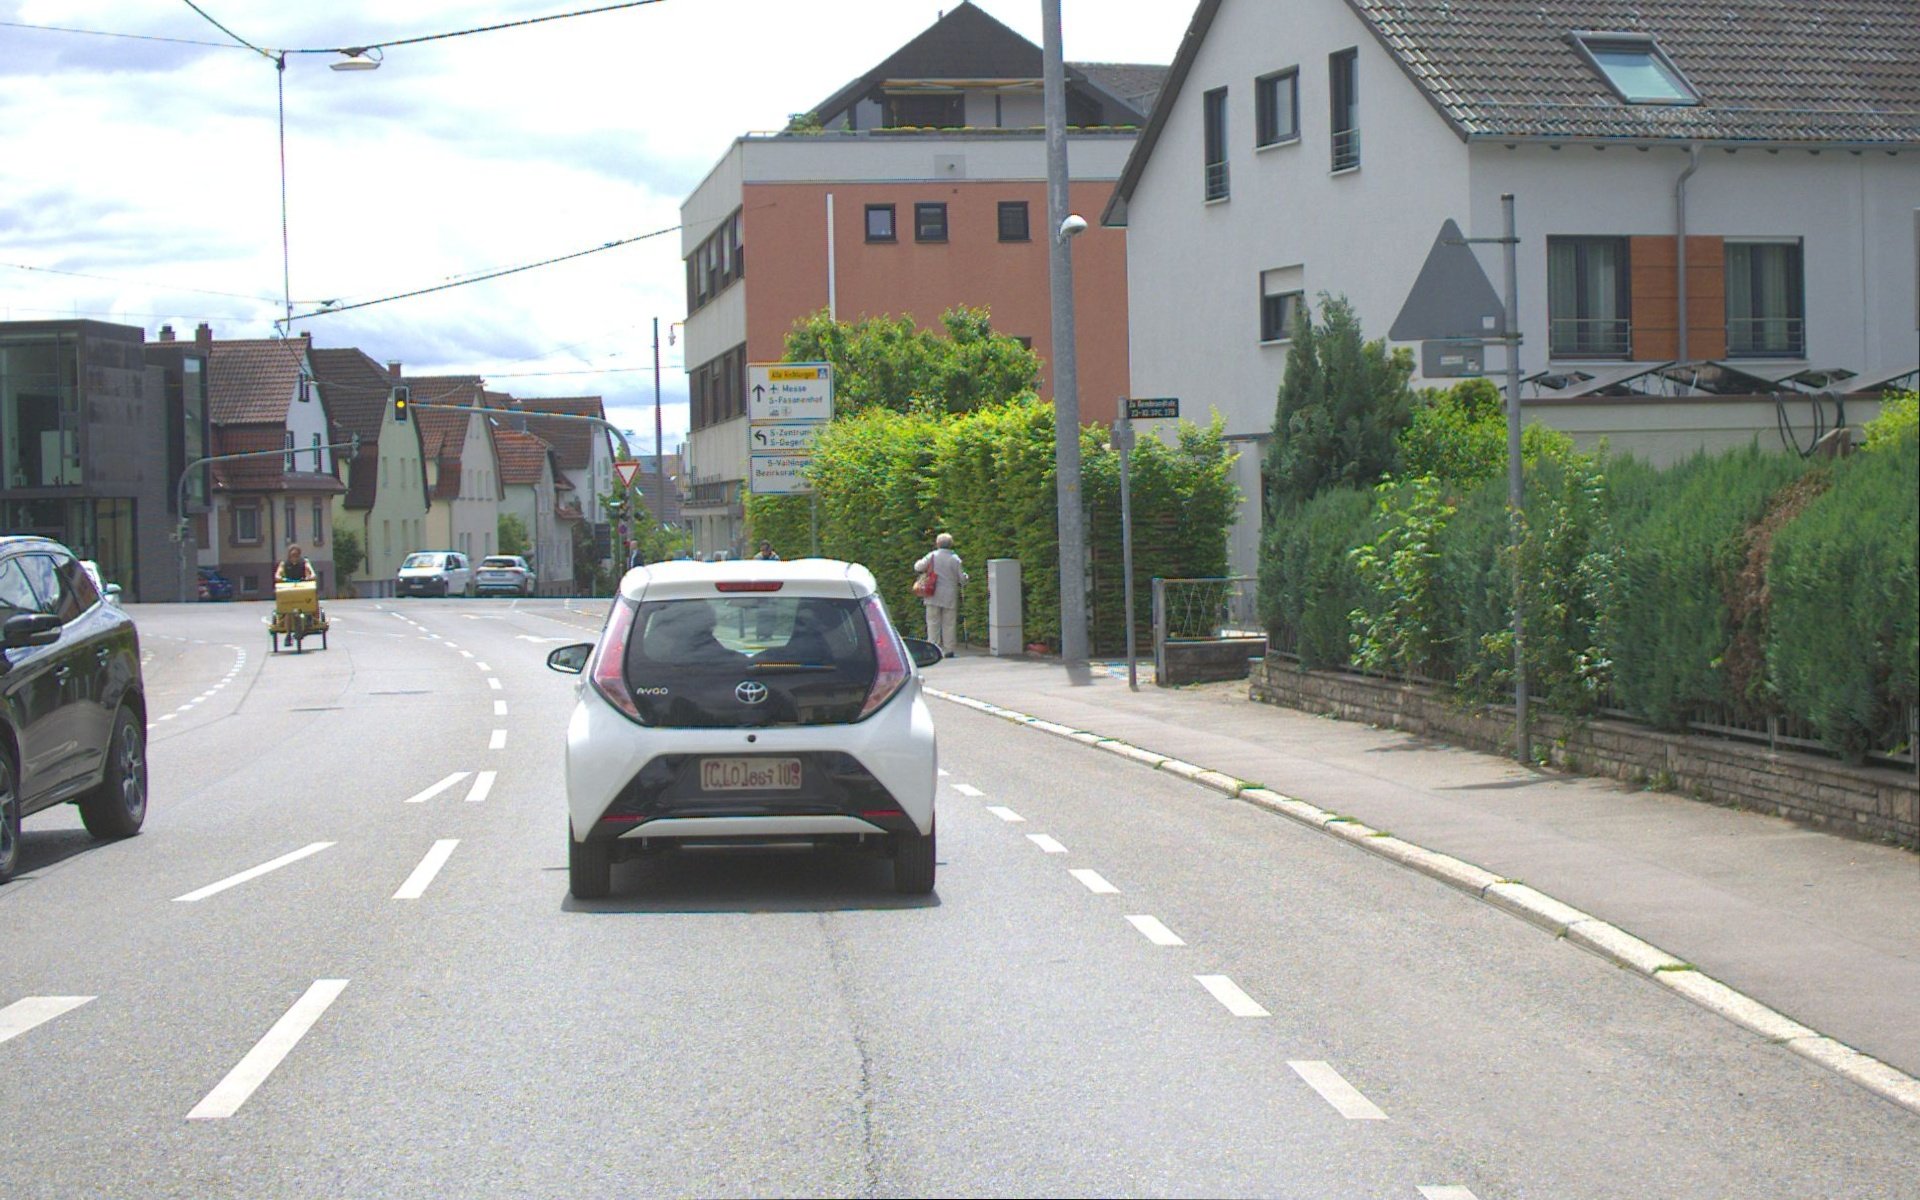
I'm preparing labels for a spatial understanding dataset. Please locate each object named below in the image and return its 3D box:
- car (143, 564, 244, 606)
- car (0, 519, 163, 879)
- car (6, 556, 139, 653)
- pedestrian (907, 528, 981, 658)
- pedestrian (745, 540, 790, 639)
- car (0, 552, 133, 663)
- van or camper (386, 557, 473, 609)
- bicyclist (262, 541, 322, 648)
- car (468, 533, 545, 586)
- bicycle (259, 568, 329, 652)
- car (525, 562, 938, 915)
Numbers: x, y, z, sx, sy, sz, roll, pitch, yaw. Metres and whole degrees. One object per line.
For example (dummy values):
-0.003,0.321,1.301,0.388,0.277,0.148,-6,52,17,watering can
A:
-30.576,-0.595,137.104,3.614,1.600,1.691,1,0,2,car
-5.425,0.506,17.092,1.916,1.643,4.294,-5,1,-2,car
-15.452,0.039,60.037,1.993,1.582,4.490,-2,1,-12,car
-0.209,-0.096,43.938,0.798,1.612,0.653,-3,1,-9,pedestrian
-3.207,-0.185,57.238,0.602,1.600,0.836,-3,1,-9,pedestrian
-14.401,0.088,54.903,1.993,1.645,4.518,-2,1,-10,car
-20.432,-0.666,132.690,2.116,1.919,5.284,1,0,5,van or camper
-10.808,-0.098,55.657,0.792,1.708,1.209,-1,1,-5,bicyclist
-16.669,-1.488,126.481,1.994,1.897,3.999,1,0,4,car
-10.779,0.144,55.691,0.863,1.297,2.662,-1,1,-6,bicycle
-1.025,0.562,15.908,1.697,1.451,3.299,0,0,-3,car
